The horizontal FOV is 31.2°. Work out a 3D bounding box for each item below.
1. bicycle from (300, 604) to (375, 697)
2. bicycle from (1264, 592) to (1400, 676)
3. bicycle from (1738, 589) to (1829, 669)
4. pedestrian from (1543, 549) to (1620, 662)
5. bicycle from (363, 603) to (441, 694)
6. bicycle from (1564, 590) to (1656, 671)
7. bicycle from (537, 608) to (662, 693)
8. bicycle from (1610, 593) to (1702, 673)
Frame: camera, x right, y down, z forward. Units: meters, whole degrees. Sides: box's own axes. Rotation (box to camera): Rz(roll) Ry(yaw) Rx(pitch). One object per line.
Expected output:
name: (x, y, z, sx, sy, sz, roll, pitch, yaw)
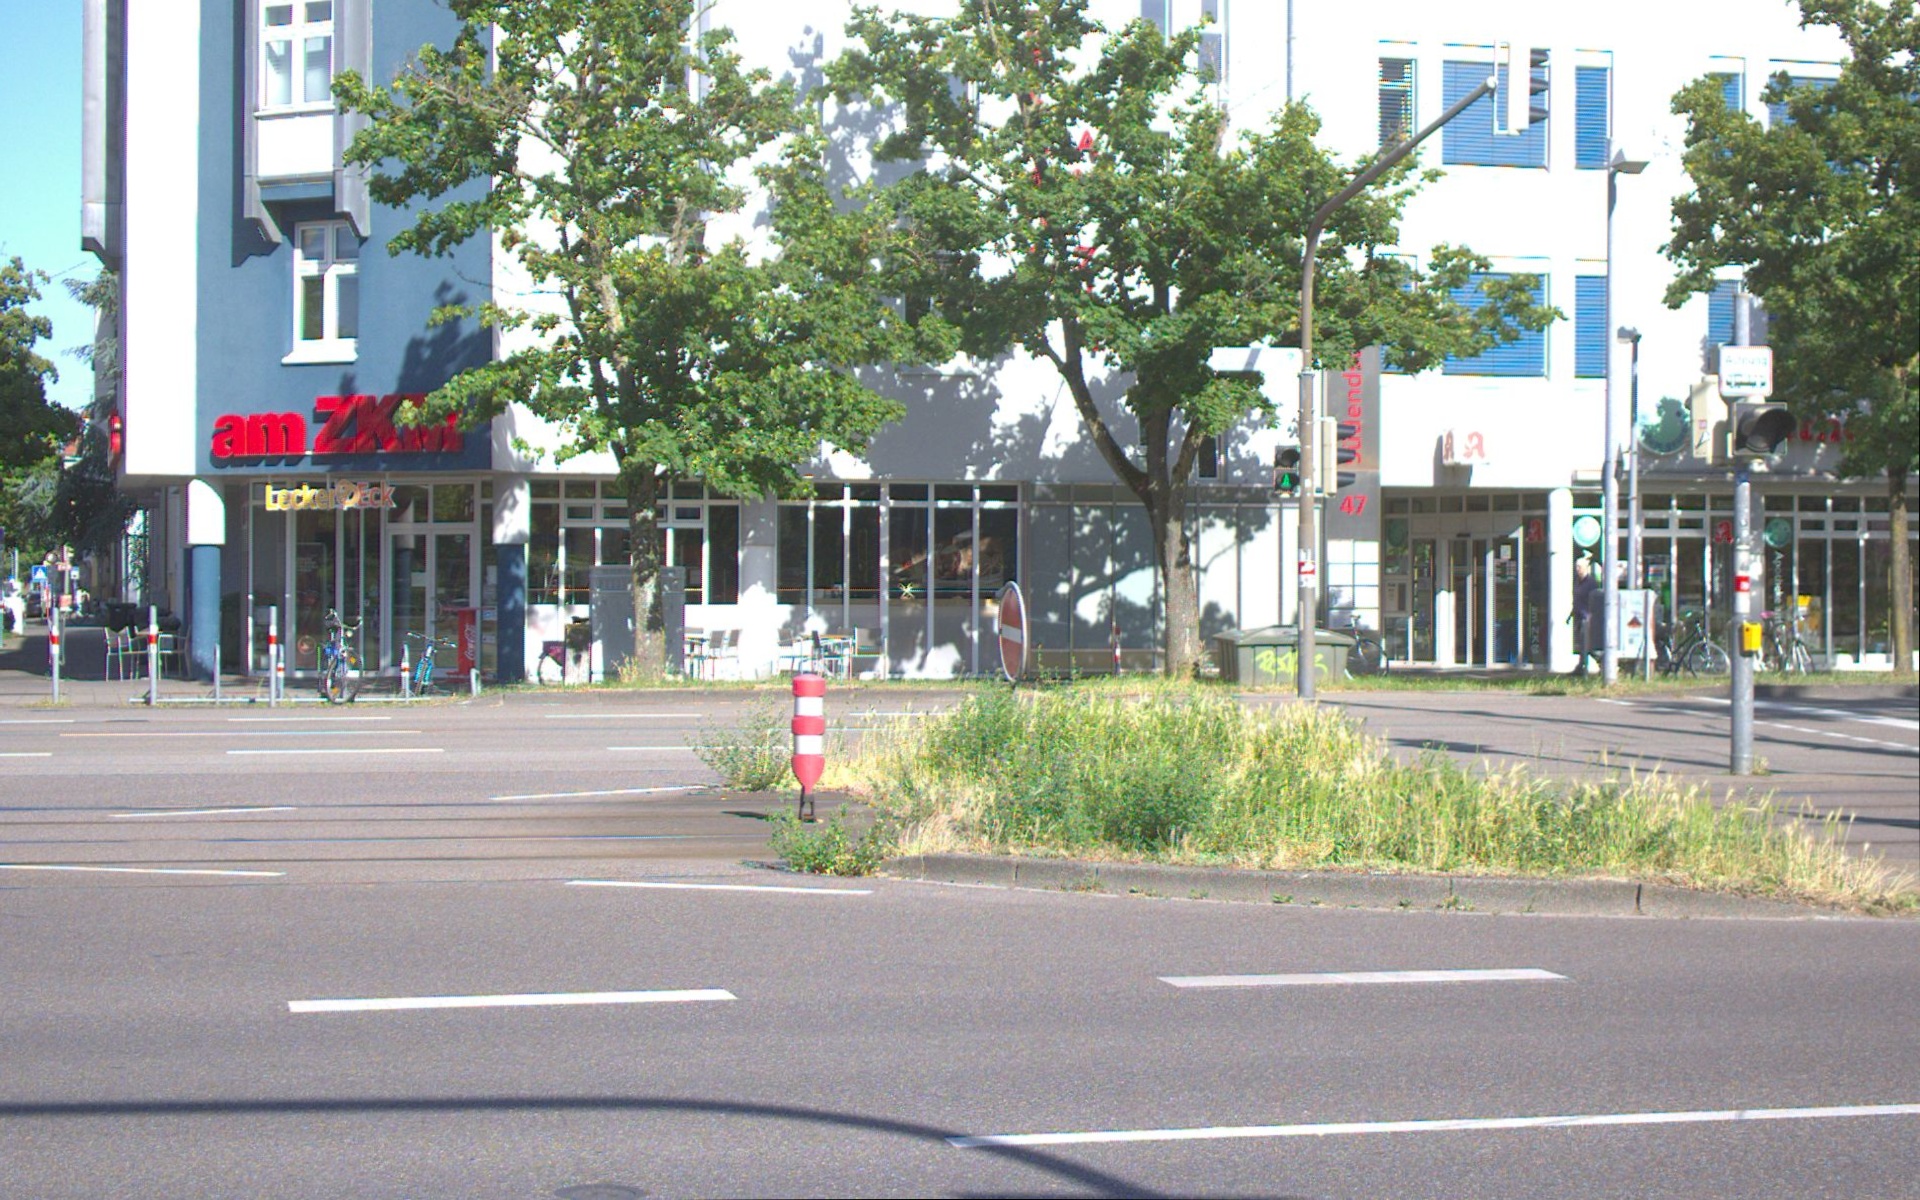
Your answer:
bicycle: (-7.105, 0.564, 39.204, 0.471, 1.024, 1.516, 0, 0, -25)
bicycle: (5.296, 0.474, 48.946, 1.863, 1.178, 0.562, 0, 0, -18)
bicycle: (12.395, 0.430, 51.818, 0.560, 1.178, 1.870, 0, 0, -13)
pedestrian: (9.549, 0.081, 52.828, 0.989, 1.717, 0.654, 0, 0, -15)
bicycle: (-6.484, 0.555, 39.895, 0.471, 1.024, 1.516, 0, 0, -26)
bicycle: (9.678, 0.449, 51.249, 0.560, 1.178, 1.870, 0, 0, -16)
bicycle: (-4.423, 0.614, 42.203, 1.511, 1.024, 0.473, 0, 0, -4)
bicycle: (10.474, 0.483, 51.767, 0.560, 1.178, 1.870, 0, 0, -16)
